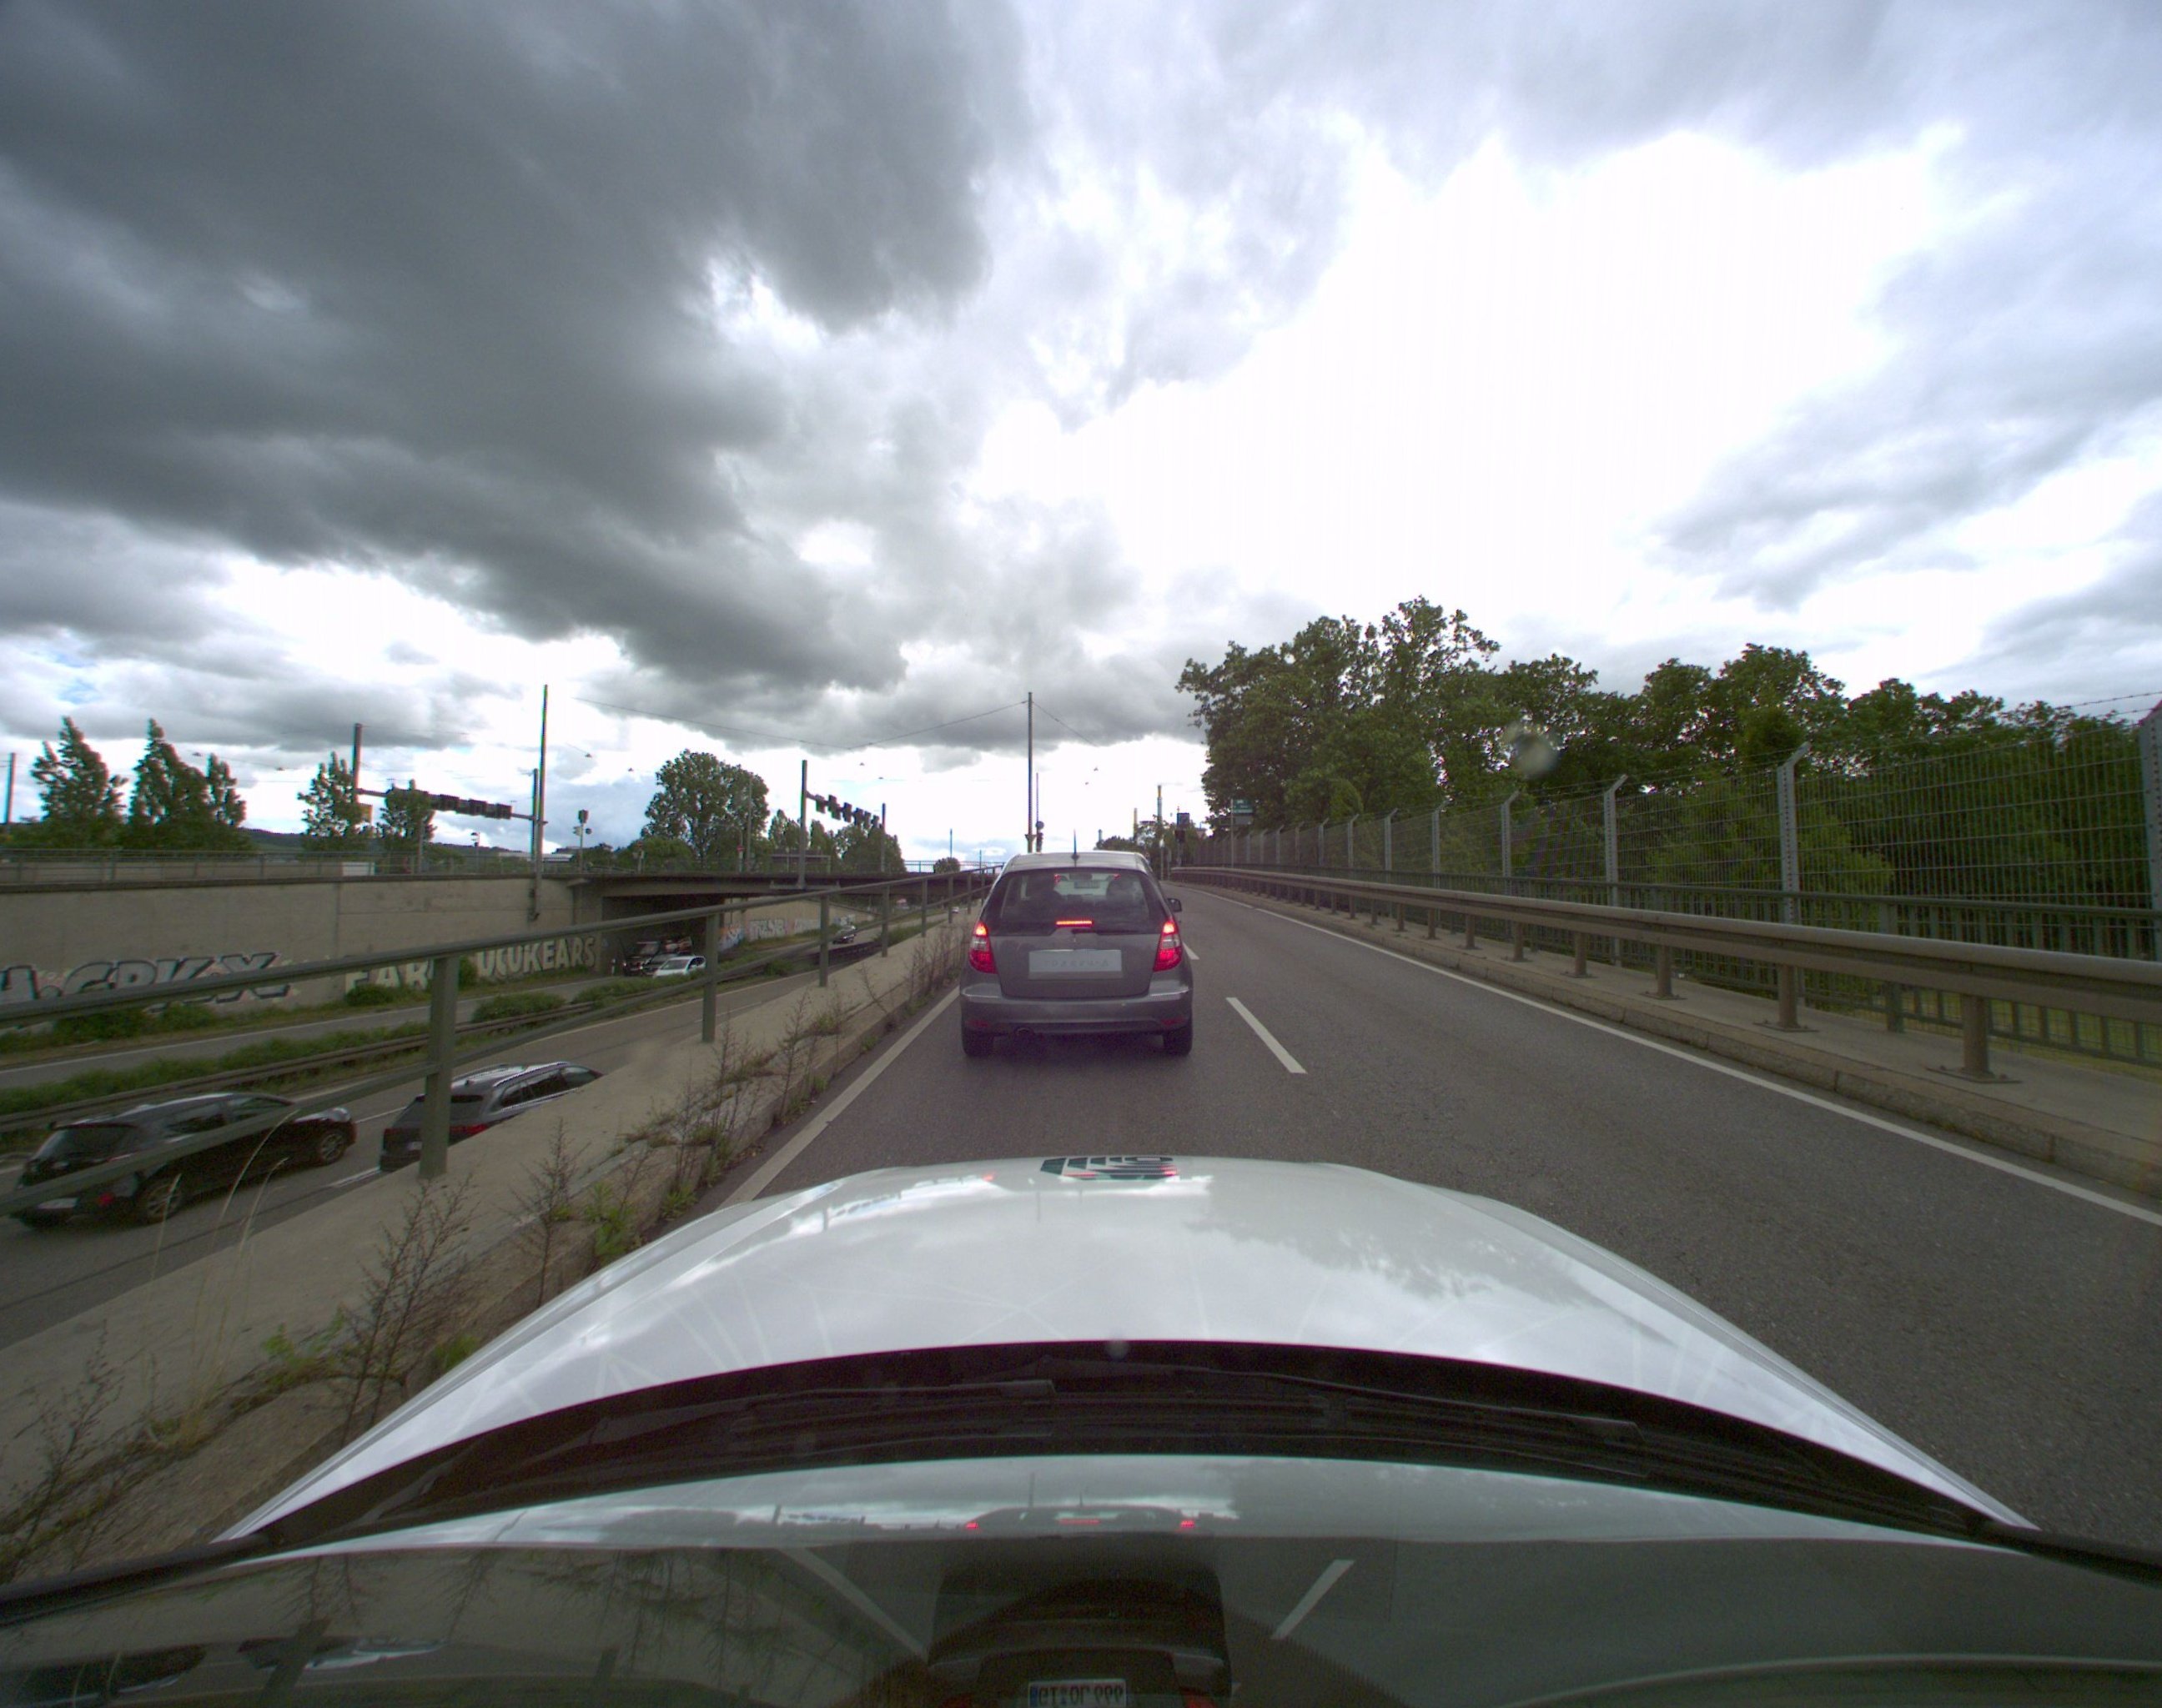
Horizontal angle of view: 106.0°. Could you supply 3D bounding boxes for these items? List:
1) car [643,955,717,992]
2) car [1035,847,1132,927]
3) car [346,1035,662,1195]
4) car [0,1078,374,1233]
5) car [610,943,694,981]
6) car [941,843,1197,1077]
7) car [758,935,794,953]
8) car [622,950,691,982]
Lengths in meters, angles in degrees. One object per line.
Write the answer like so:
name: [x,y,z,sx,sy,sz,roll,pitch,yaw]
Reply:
car: [-22.166,6.586,45.195,1.987,1.662,3.999,0,-4,1]
car: [0.104,0.684,19.073,1.986,1.603,4.002,-1,1,1]
car: [-9.566,4.273,14.043,1.923,1.501,4.315,-2,-2,10]
car: [-13.269,4.399,12.356,1.717,1.328,3.647,-1,-6,2]
car: [-29.127,7.306,55.613,2.282,2.156,6.183,-1,-4,1]
car: [0.190,0.735,7.643,1.740,1.580,4.094,-1,0,8]
car: [-30.559,9.015,81.686,1.987,1.662,3.999,0,-4,1]
car: [-25.955,6.842,49.940,1.987,1.662,3.999,0,-4,1]
